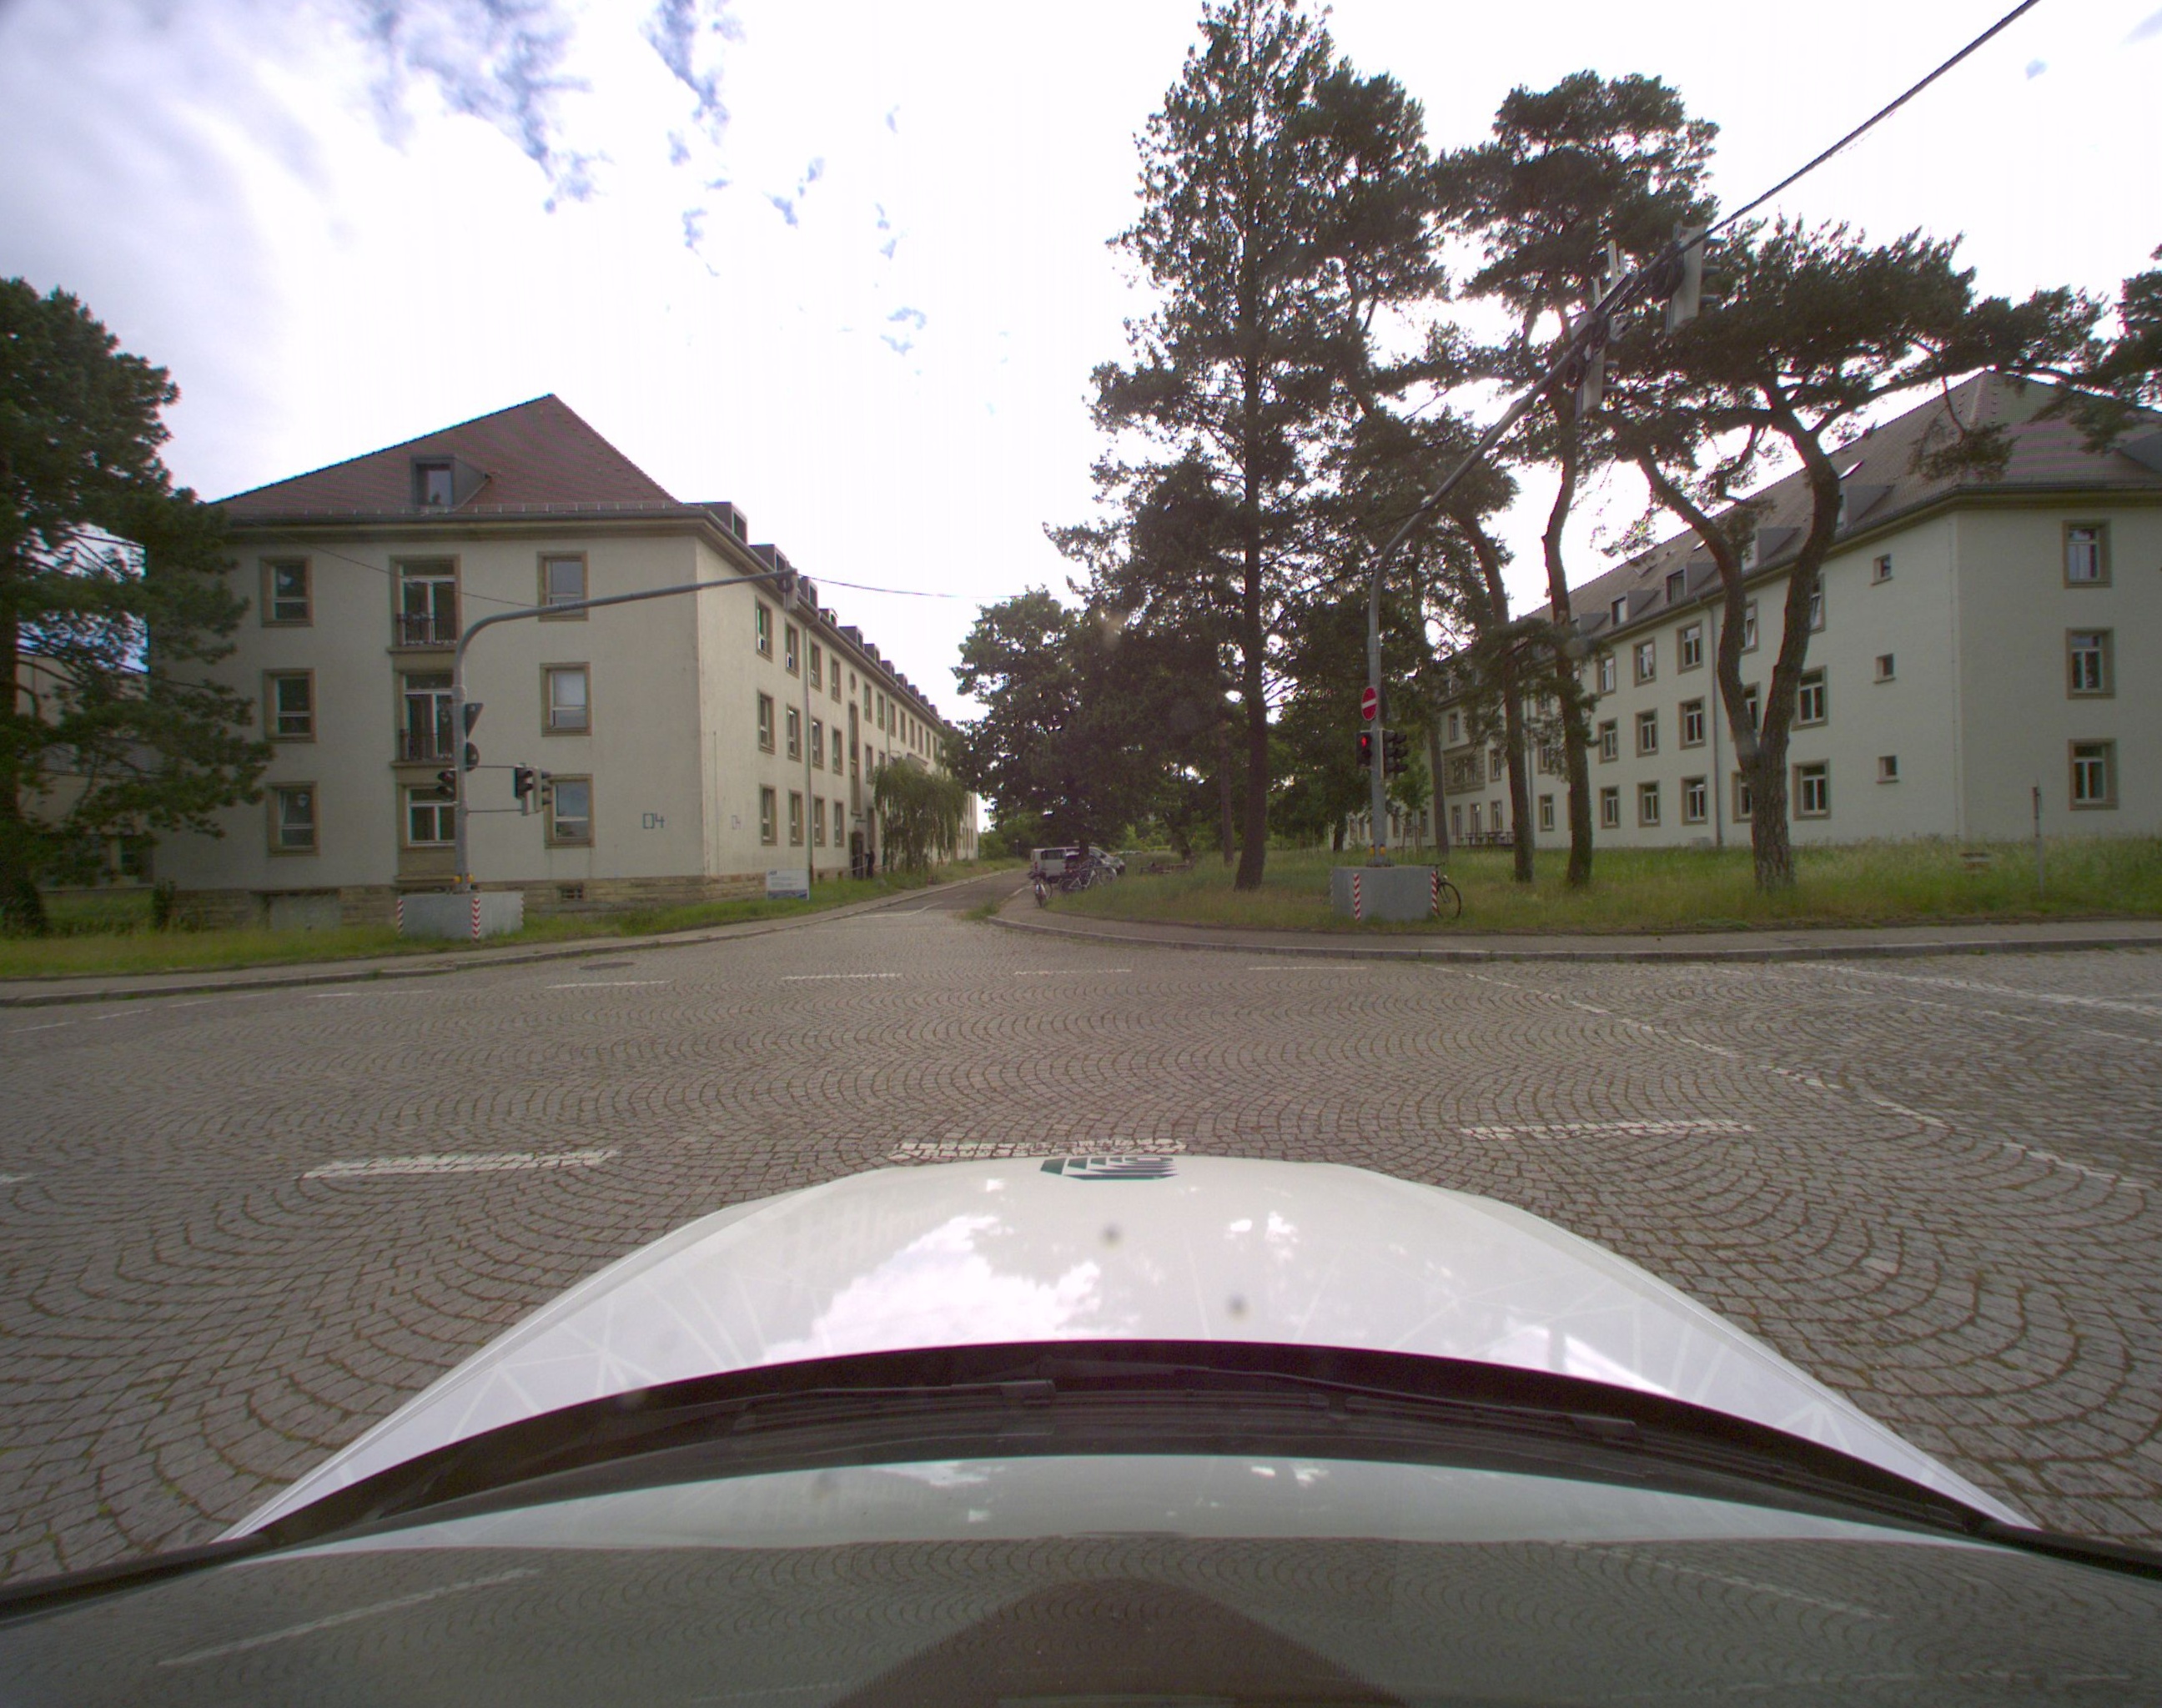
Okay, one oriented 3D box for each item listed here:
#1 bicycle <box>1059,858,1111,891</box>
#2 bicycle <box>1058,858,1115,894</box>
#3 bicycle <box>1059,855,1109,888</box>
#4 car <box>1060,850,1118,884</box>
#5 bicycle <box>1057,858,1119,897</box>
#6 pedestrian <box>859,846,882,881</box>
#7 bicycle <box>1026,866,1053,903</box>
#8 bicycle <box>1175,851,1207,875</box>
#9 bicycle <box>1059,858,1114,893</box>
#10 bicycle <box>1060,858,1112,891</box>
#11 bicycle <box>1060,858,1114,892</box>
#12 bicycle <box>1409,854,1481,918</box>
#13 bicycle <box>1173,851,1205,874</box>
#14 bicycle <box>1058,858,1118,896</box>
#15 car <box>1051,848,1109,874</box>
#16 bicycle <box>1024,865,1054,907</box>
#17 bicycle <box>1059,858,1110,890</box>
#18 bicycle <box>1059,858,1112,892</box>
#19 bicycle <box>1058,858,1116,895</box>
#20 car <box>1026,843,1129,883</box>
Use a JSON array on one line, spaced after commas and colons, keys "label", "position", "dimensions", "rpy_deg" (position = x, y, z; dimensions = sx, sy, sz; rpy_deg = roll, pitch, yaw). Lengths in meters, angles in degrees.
[{"label": "bicycle", "position": [0.145, 0.786, 31.917], "dimensions": [1.977, 1.248, 0.624], "rpy_deg": [-1, 0, -2]}, {"label": "bicycle", "position": [0.187, 0.775, 29.168], "dimensions": [1.977, 1.248, 0.624], "rpy_deg": [-1, 0, -2]}, {"label": "bicycle", "position": [0.116, 0.702, 33.071], "dimensions": [1.977, 1.248, 0.624], "rpy_deg": [-3, 0, -2]}, {"label": "car", "position": [0.422, 0.654, 41.380], "dimensions": [2.839, 1.557, 1.472], "rpy_deg": [-2, 1, -1]}, {"label": "bicycle", "position": [0.224, 0.766, 26.754], "dimensions": [1.977, 1.248, 0.624], "rpy_deg": [-1, 0, -2]}, {"label": "pedestrian", "position": [-10.993, 0.492, 42.567], "dimensions": [0.833, 1.781, 0.942], "rpy_deg": [-2, 0, 5]}, {"label": "bicycle", "position": [-1.270, 0.925, 25.319], "dimensions": [0.619, 1.082, 1.679], "rpy_deg": [-1, 0, 4]}, {"label": "bicycle", "position": [5.441, 0.455, 40.362], "dimensions": [1.543, 1.124, 0.401], "rpy_deg": [-2, 0, 1]}, {"label": "bicycle", "position": [0.188, 0.778, 29.801], "dimensions": [1.977, 1.248, 0.624], "rpy_deg": [-1, 0, -2]}, {"label": "bicycle", "position": [0.172, 0.784, 31.404], "dimensions": [1.977, 1.248, 0.624], "rpy_deg": [-1, 0, -2]}, {"label": "bicycle", "position": [0.199, 0.779, 30.326], "dimensions": [1.977, 1.248, 0.624], "rpy_deg": [-1, 0, -2]}, {"label": "bicycle", "position": [6.393, 0.539, 14.389], "dimensions": [0.578, 0.970, 1.680], "rpy_deg": [-3, 2, 4]}, {"label": "bicycle", "position": [5.508, 0.456, 41.594], "dimensions": [1.543, 1.124, 0.401], "rpy_deg": [-2, 0, 1]}, {"label": "bicycle", "position": [0.218, 0.769, 27.383], "dimensions": [1.977, 1.248, 0.624], "rpy_deg": [-1, 0, -2]}, {"label": "car", "position": [-0.074, 0.517, 58.738], "dimensions": [4.020, 1.718, 1.680], "rpy_deg": [-2, 0, -2]}, {"label": "bicycle", "position": [-1.187, 0.901, 23.366], "dimensions": [0.619, 1.113, 1.990], "rpy_deg": [-1, 0, 3]}, {"label": "bicycle", "position": [0.124, 0.788, 32.411], "dimensions": [1.977, 1.248, 0.624], "rpy_deg": [-1, 0, -2]}, {"label": "bicycle", "position": [0.159, 0.781, 30.726], "dimensions": [1.977, 1.248, 0.624], "rpy_deg": [-1, 0, -2]}, {"label": "bicycle", "position": [0.196, 0.772, 28.309], "dimensions": [1.977, 1.248, 0.624], "rpy_deg": [-1, 0, -2]}, {"label": "car", "position": [-0.214, 0.495, 44.850], "dimensions": [5.313, 1.916, 2.139], "rpy_deg": [-2, 0, -15]}]
